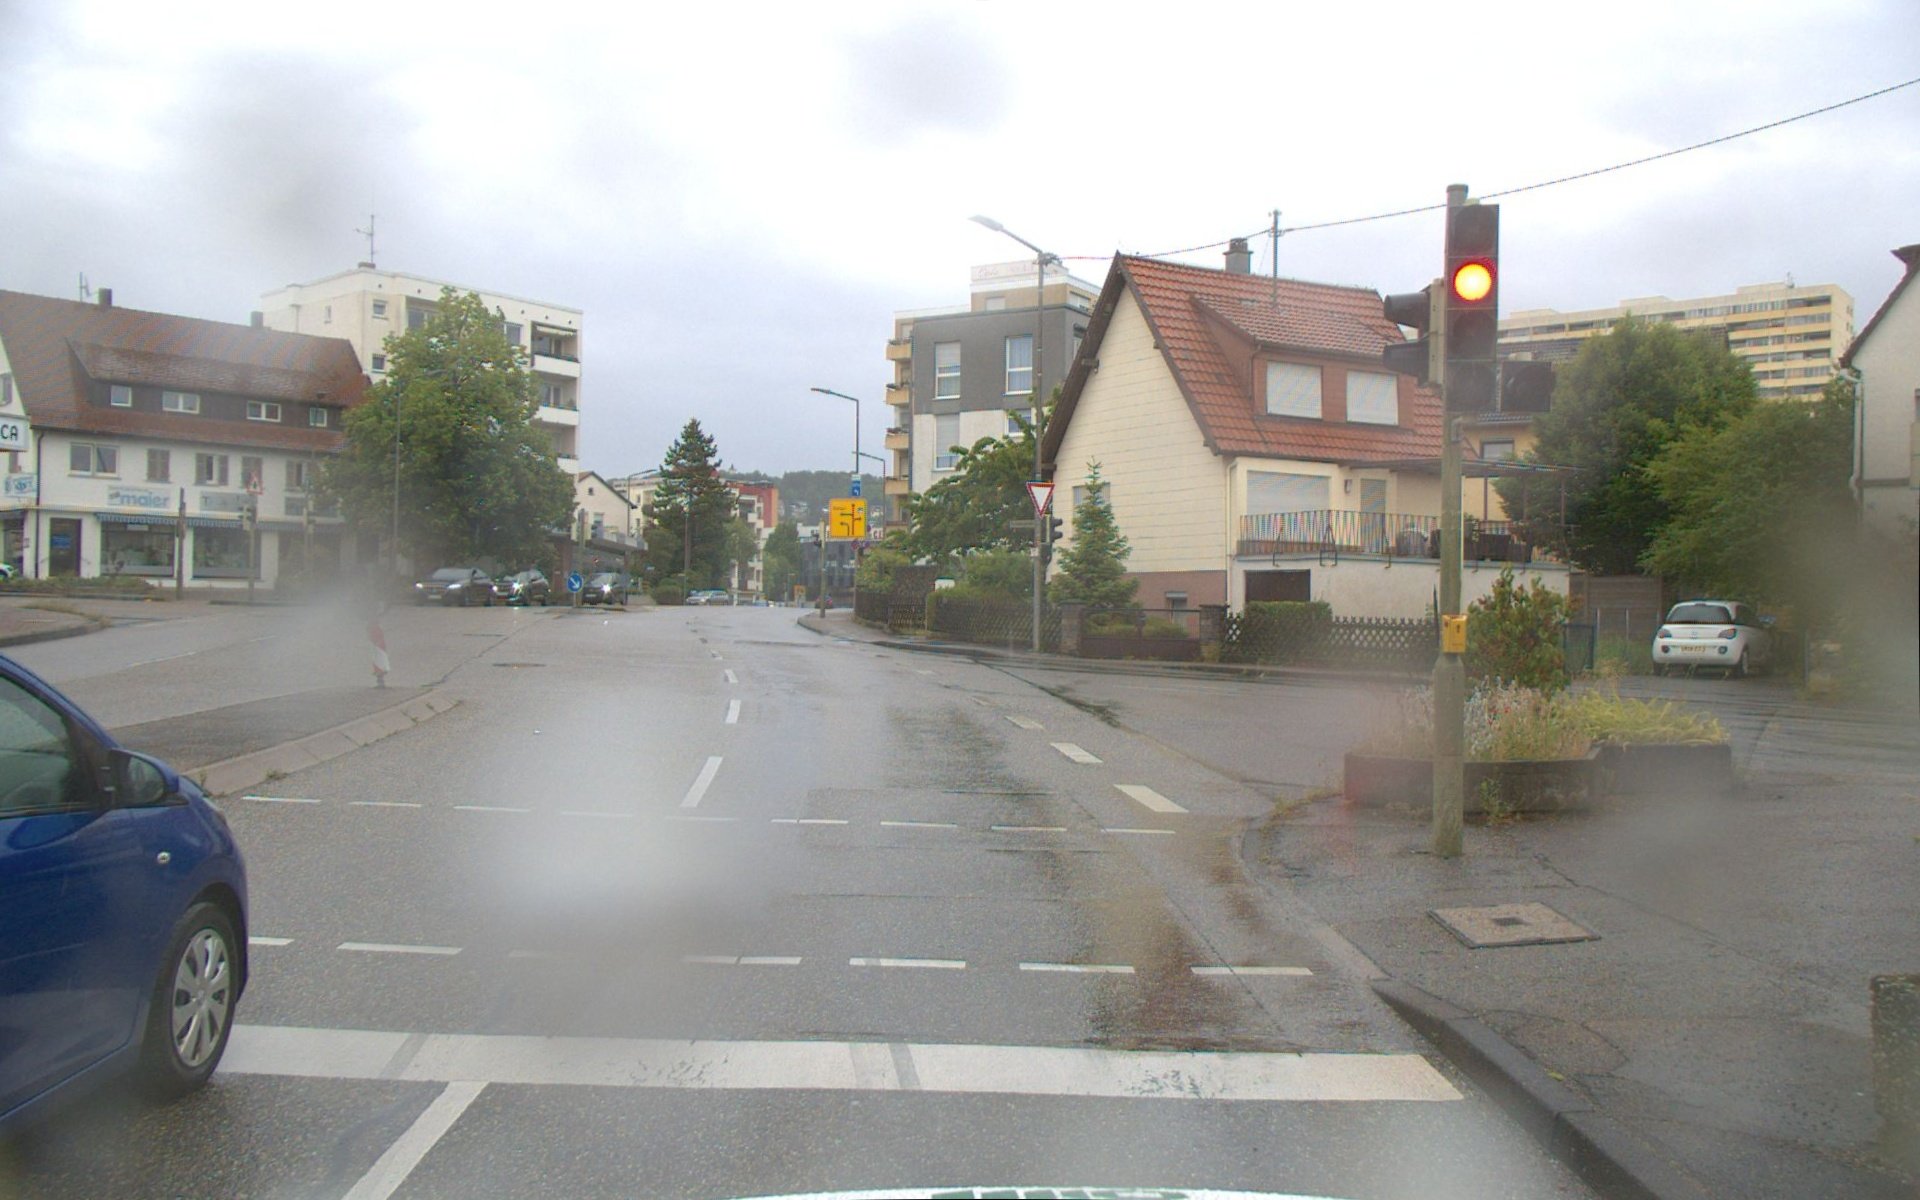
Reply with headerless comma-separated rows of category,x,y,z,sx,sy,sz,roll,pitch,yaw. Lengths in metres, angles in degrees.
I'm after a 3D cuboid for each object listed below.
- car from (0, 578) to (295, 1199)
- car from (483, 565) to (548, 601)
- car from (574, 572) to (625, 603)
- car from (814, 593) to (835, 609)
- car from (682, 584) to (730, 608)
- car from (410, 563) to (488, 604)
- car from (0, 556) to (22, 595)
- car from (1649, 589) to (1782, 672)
car,-2.881,0.672,3.614,1.546,1.435,3.270,1,1,-1
car,-18.319,-0.715,68.330,1.680,1.411,4.020,1,1,-1
car,-17.752,-0.632,81.655,1.742,1.445,3.830,1,1,-1
car,-13.342,0.050,163.240,1.776,1.512,4.189,0,1,0
car,-20.614,-0.353,134.384,3.777,1.847,1.758,1,1,-9
car,-18.838,-0.610,61.129,1.742,1.445,3.830,1,1,-1
car,-41.188,-1.041,68.317,1.842,1.599,3.938,2,1,45
car,15.253,0.562,33.296,1.710,1.541,3.985,1,1,35
